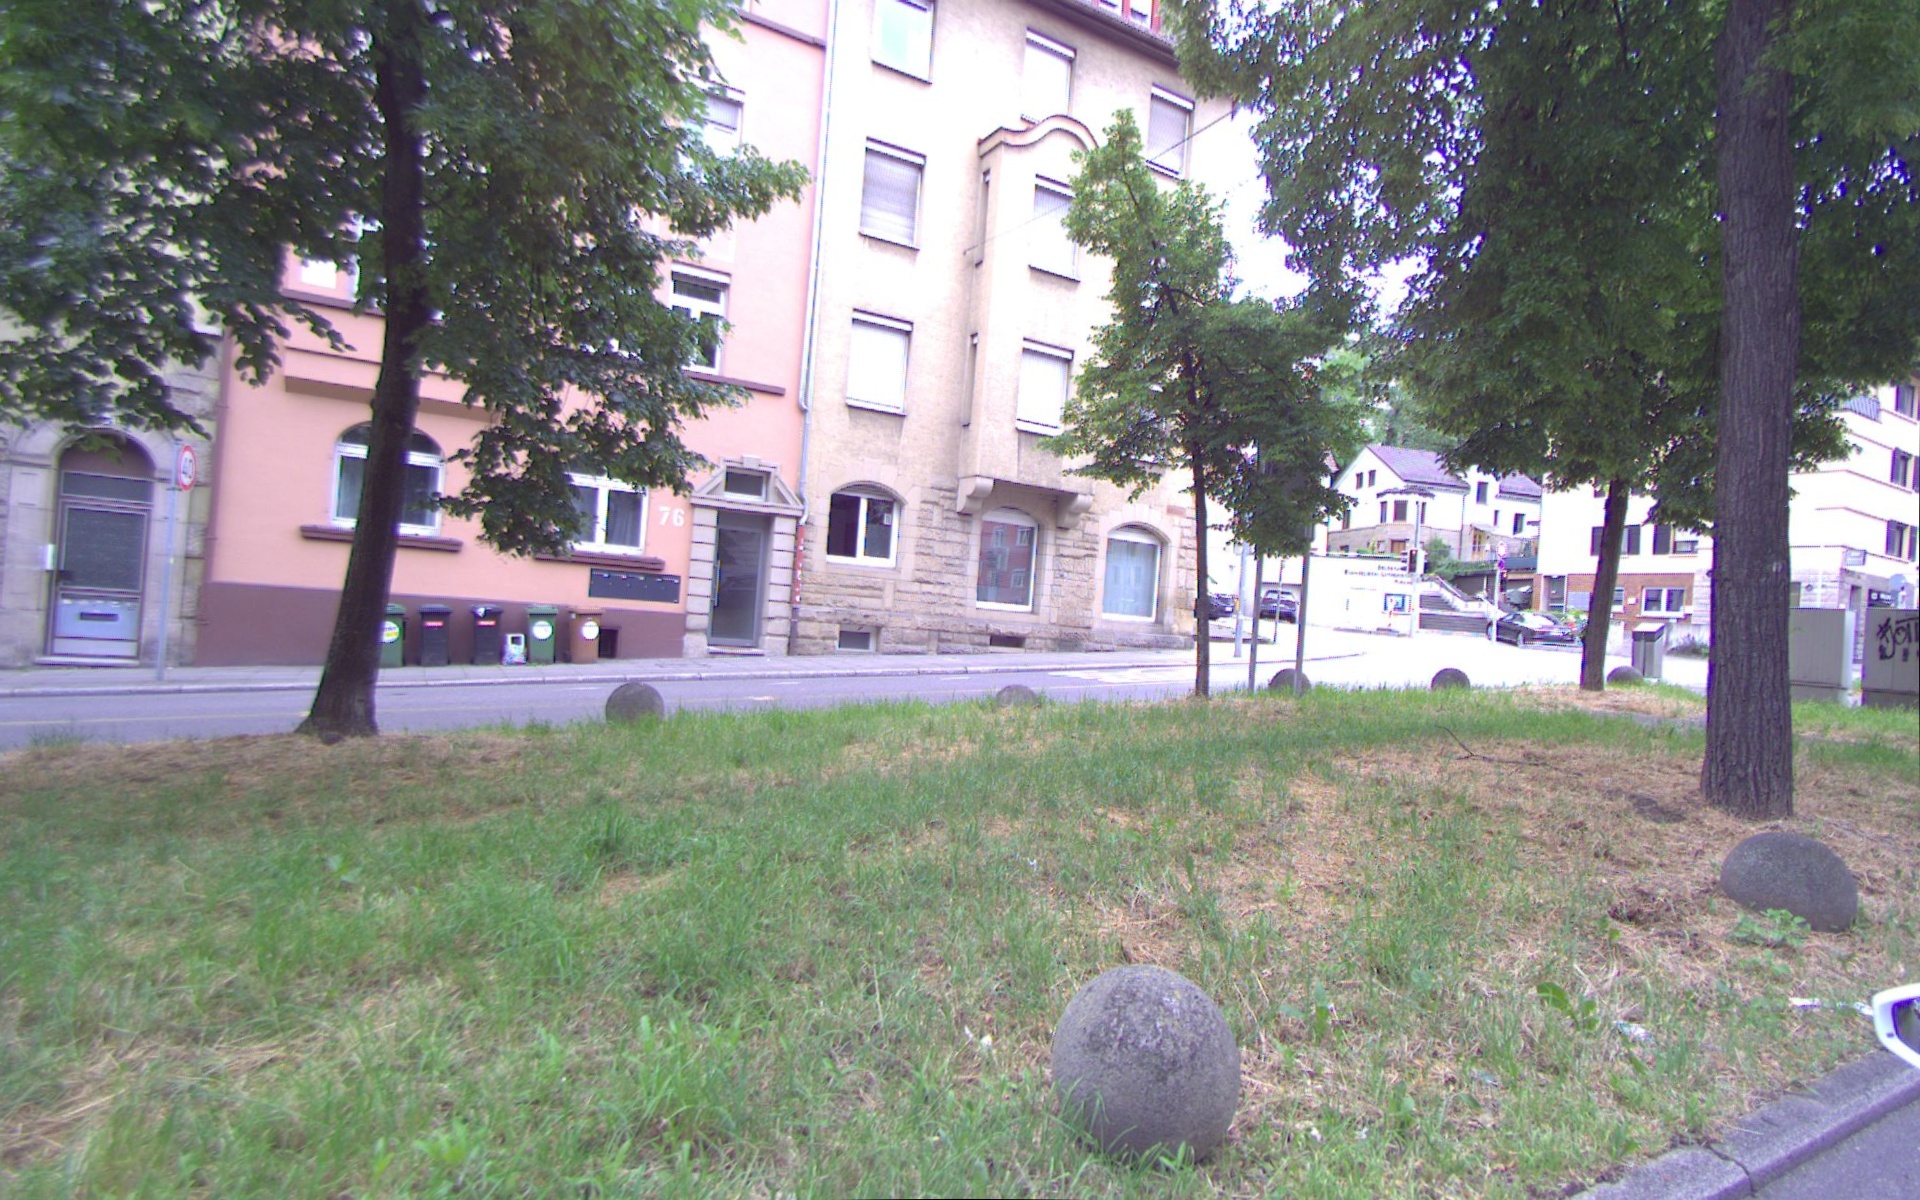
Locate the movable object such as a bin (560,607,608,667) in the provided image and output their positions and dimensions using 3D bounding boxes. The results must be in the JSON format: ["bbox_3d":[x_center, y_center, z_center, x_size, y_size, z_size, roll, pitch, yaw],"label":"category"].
[{"bbox_3d":[-6.140,0.595,16.392,0.595,0.916,0.605,1,2,-33],"label":"movable object such as a bin"}]

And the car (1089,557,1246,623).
[{"bbox_3d":[7.396,-0.392,36.133,5.103,2.092,1.987,4,2,38],"label":"car"}]

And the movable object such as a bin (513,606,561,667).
[{"bbox_3d":[-6.759,0.573,16.026,0.595,0.916,0.605,1,2,-33],"label":"movable object such as a bin"}]

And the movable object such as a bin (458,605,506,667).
[{"bbox_3d":[-7.436,0.548,15.615,0.595,0.916,0.605,1,2,-33],"label":"movable object such as a bin"}]

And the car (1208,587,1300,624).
[{"bbox_3d":[13.577,0.228,46.409,3.920,1.530,1.800,2,1,18],"label":"car"}]

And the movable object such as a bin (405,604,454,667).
[{"bbox_3d":[-8.052,0.532,15.235,0.595,0.916,0.605,1,2,-33],"label":"movable object such as a bin"}]

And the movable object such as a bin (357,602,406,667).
[{"bbox_3d":[-8.594,0.509,14.919,0.595,0.916,0.605,1,2,-33],"label":"movable object such as a bin"}]

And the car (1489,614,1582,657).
[{"bbox_3d":[24.738,1.487,43.334,1.844,1.687,4.002,3,-1,4],"label":"car"}]
